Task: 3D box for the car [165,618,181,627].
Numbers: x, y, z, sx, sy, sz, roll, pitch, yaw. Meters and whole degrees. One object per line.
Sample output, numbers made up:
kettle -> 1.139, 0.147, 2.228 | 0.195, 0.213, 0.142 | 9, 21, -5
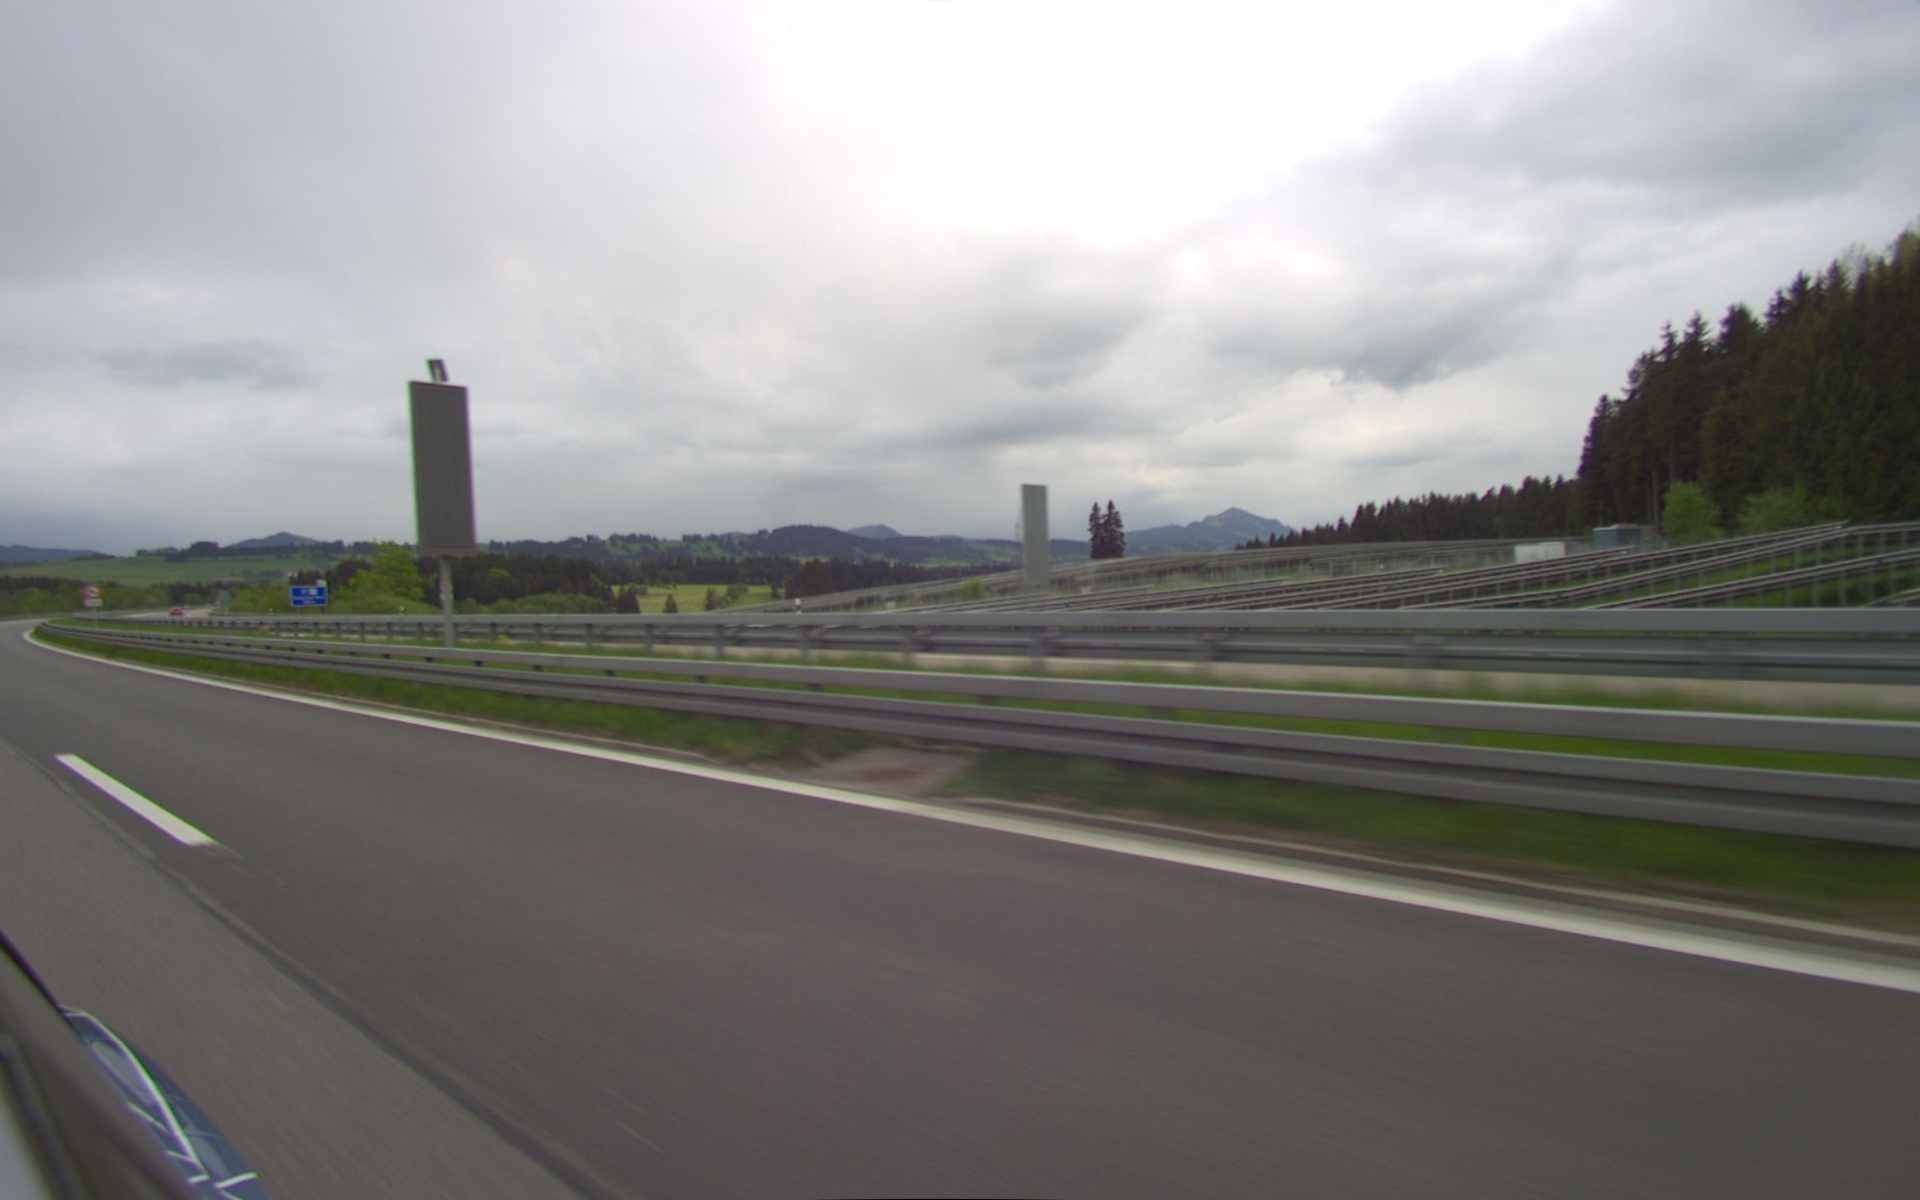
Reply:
car -> -144.482, 4.172, 185.873 | 1.967, 1.509, 4.161 | -4, 2, -35
